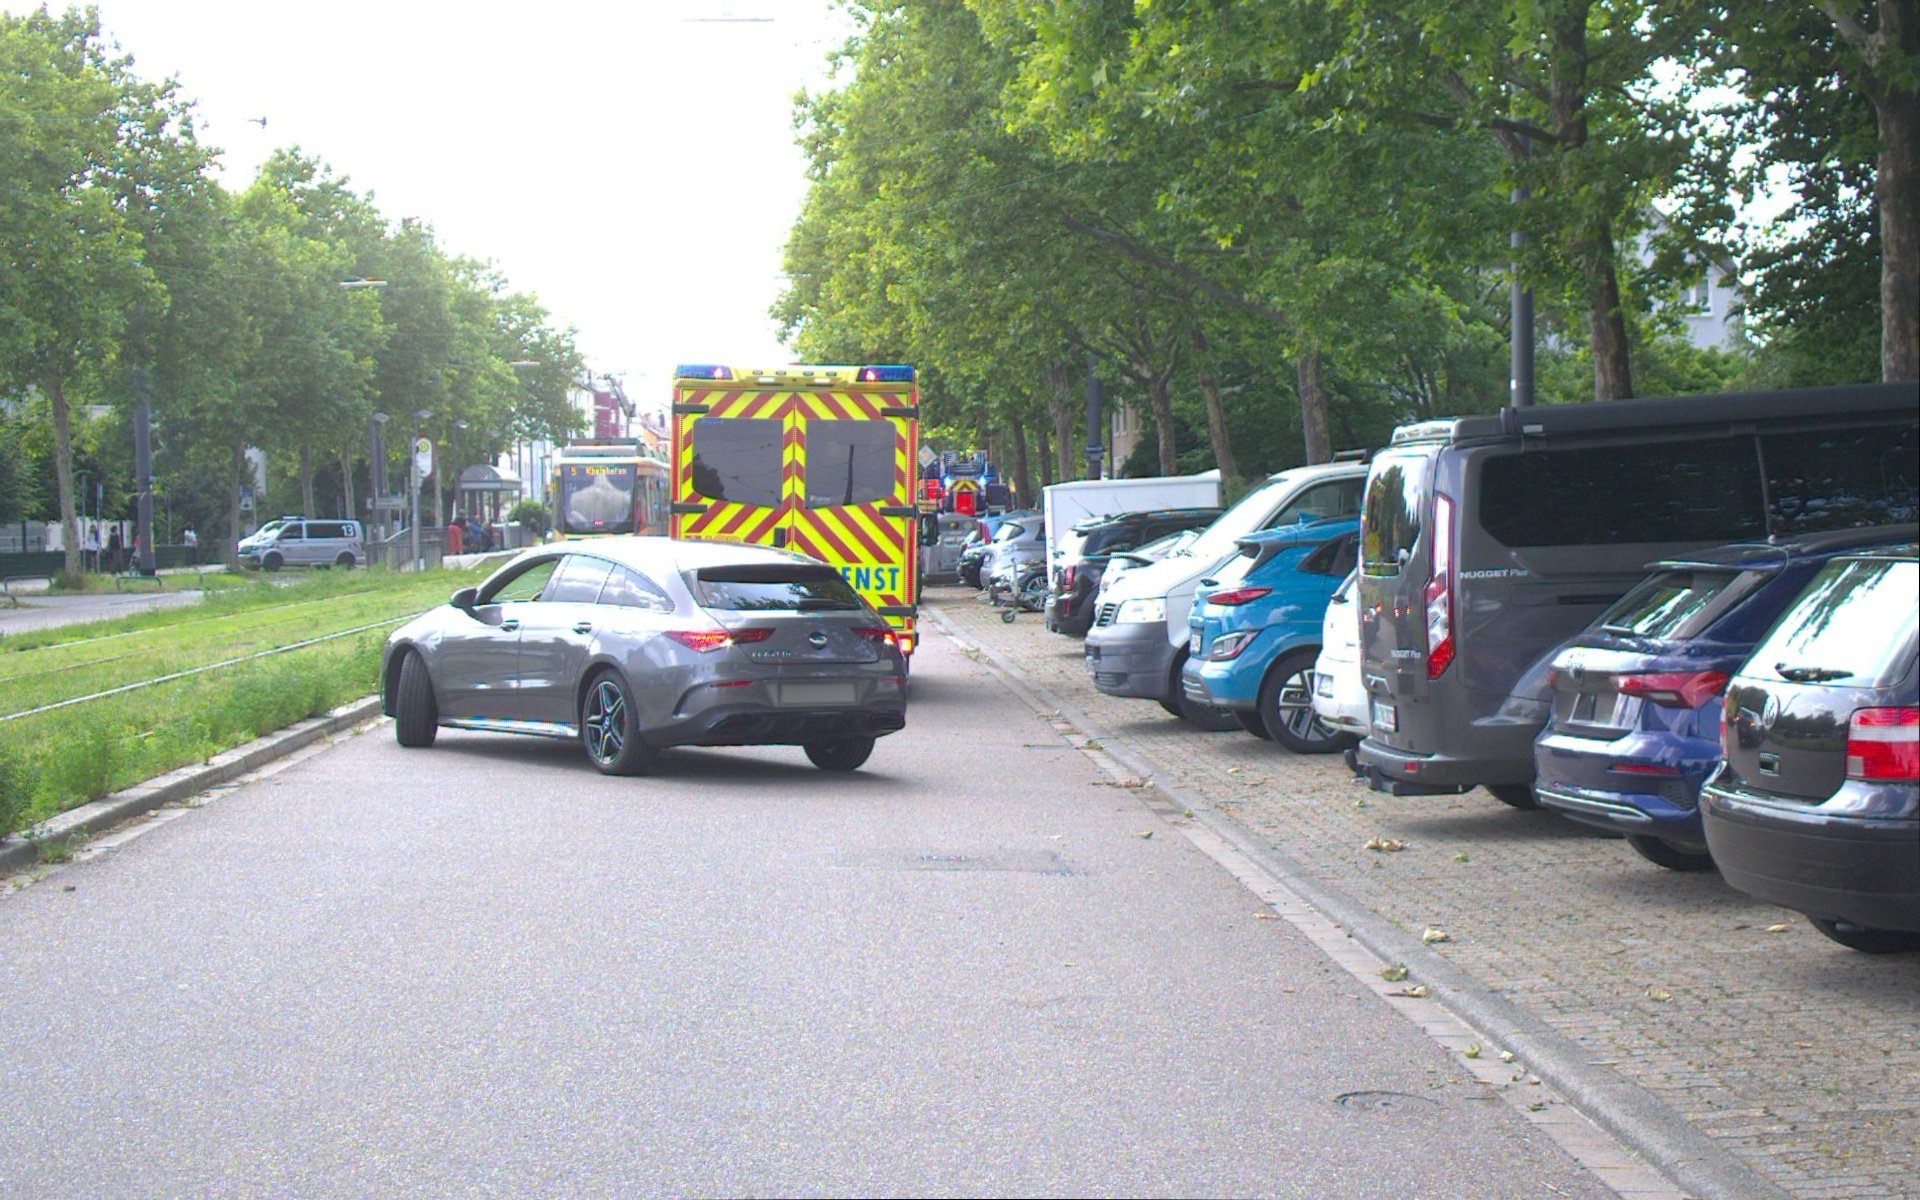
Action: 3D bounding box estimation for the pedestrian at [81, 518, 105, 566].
[{"bbox_3d":[-28.418,-1.893,112.667,0.632,1.545,0.622,-1,1,-5],"label":"pedestrian"}]

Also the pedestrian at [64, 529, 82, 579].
[{"bbox_3d":[-26.479,-1.384,102.656,0.421,1.468,0.467,-1,1,-7],"label":"pedestrian"}]

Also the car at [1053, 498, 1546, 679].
[{"bbox_3d":[3.323,-0.138,34.132,4.545,1.603,1.856,-2,1,-6],"label":"car"}]

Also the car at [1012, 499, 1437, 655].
[{"bbox_3d":[2.979,-0.280,39.281,4.545,1.603,1.856,-2,1,-6],"label":"car"}]

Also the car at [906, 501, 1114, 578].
[{"bbox_3d":[1.126,-1.397,78.881,4.545,1.603,1.856,-2,1,-6],"label":"car"}]

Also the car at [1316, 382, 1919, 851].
[{"bbox_3d":[4.193,0.022,17.087,4.545,2.116,1.856,-2,1,-2],"label":"car"}]

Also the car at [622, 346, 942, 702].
[{"bbox_3d":[-1.556,-0.712,32.536,2.641,2.956,6.300,2,1,-1],"label":"car"}]

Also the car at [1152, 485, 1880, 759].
[{"bbox_3d":[3.738,0.117,23.538,4.545,1.654,1.856,-2,1,-6],"label":"car"}]

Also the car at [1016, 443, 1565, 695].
[{"bbox_3d":[2.889,-0.295,30.642,4.545,2.036,1.856,-2,1,-6],"label":"car"}]

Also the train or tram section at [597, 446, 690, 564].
[{"bbox_3d":[-10.166,-3.012,111.112,2.511,3.572,7.446,-2,1,-2],"label":"train or tram section"}]

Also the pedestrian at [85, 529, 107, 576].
[{"bbox_3d":[-26.276,-1.442,104.539,0.422,1.409,0.467,0,1,23],"label":"pedestrian"}]

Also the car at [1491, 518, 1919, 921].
[{"bbox_3d":[4.322,0.398,13.991,3.965,1.489,1.756,-2,1,-2],"label":"car"}]

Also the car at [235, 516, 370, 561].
[{"bbox_3d":[-24.659,-2.312,129.012,4.615,1.627,1.882,-2,2,-41],"label":"car"}]

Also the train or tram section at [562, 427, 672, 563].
[{"bbox_3d":[-9.532,-2.860,96.235,2.511,3.572,7.446,-2,1,-2],"label":"train or tram section"}]

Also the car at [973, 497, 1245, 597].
[{"bbox_3d":[2.601,-0.942,60.832,4.545,1.603,1.856,-2,1,-6],"label":"car"}]

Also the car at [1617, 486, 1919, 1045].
[{"bbox_3d":[4.355,0.394,11.137,3.964,1.600,1.757,-2,1,-12],"label":"car"}]

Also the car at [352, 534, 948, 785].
[{"bbox_3d":[-2.102,0.311,22.077,1.761,1.381,4.467,0,1,-36],"label":"car"}]

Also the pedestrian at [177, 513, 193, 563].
[{"bbox_3d":[-28.213,-2.262,125.094,0.466,1.822,0.423,-1,1,-4],"label":"pedestrian"}]

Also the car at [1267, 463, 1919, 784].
[{"bbox_3d":[4.283,0.096,21.018,4.545,1.760,1.856,-2,1,-2],"label":"car"}]

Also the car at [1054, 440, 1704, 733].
[{"bbox_3d":[3.112,-0.126,26.054,4.545,1.994,1.856,-2,1,-6],"label":"car"}]

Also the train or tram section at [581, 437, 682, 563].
[{"bbox_3d":[-9.853,-2.936,103.675,2.511,3.572,7.446,-2,1,-2],"label":"train or tram section"}]

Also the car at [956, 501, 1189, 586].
[{"bbox_3d":[2.288,-1.168,70.677,4.545,1.603,1.856,-2,1,-6],"label":"car"}]

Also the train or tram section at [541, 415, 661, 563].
[{"bbox_3d":[-9.203,-2.784,88.809,2.511,3.572,7.446,-2,1,-2],"label":"train or tram section"}]
